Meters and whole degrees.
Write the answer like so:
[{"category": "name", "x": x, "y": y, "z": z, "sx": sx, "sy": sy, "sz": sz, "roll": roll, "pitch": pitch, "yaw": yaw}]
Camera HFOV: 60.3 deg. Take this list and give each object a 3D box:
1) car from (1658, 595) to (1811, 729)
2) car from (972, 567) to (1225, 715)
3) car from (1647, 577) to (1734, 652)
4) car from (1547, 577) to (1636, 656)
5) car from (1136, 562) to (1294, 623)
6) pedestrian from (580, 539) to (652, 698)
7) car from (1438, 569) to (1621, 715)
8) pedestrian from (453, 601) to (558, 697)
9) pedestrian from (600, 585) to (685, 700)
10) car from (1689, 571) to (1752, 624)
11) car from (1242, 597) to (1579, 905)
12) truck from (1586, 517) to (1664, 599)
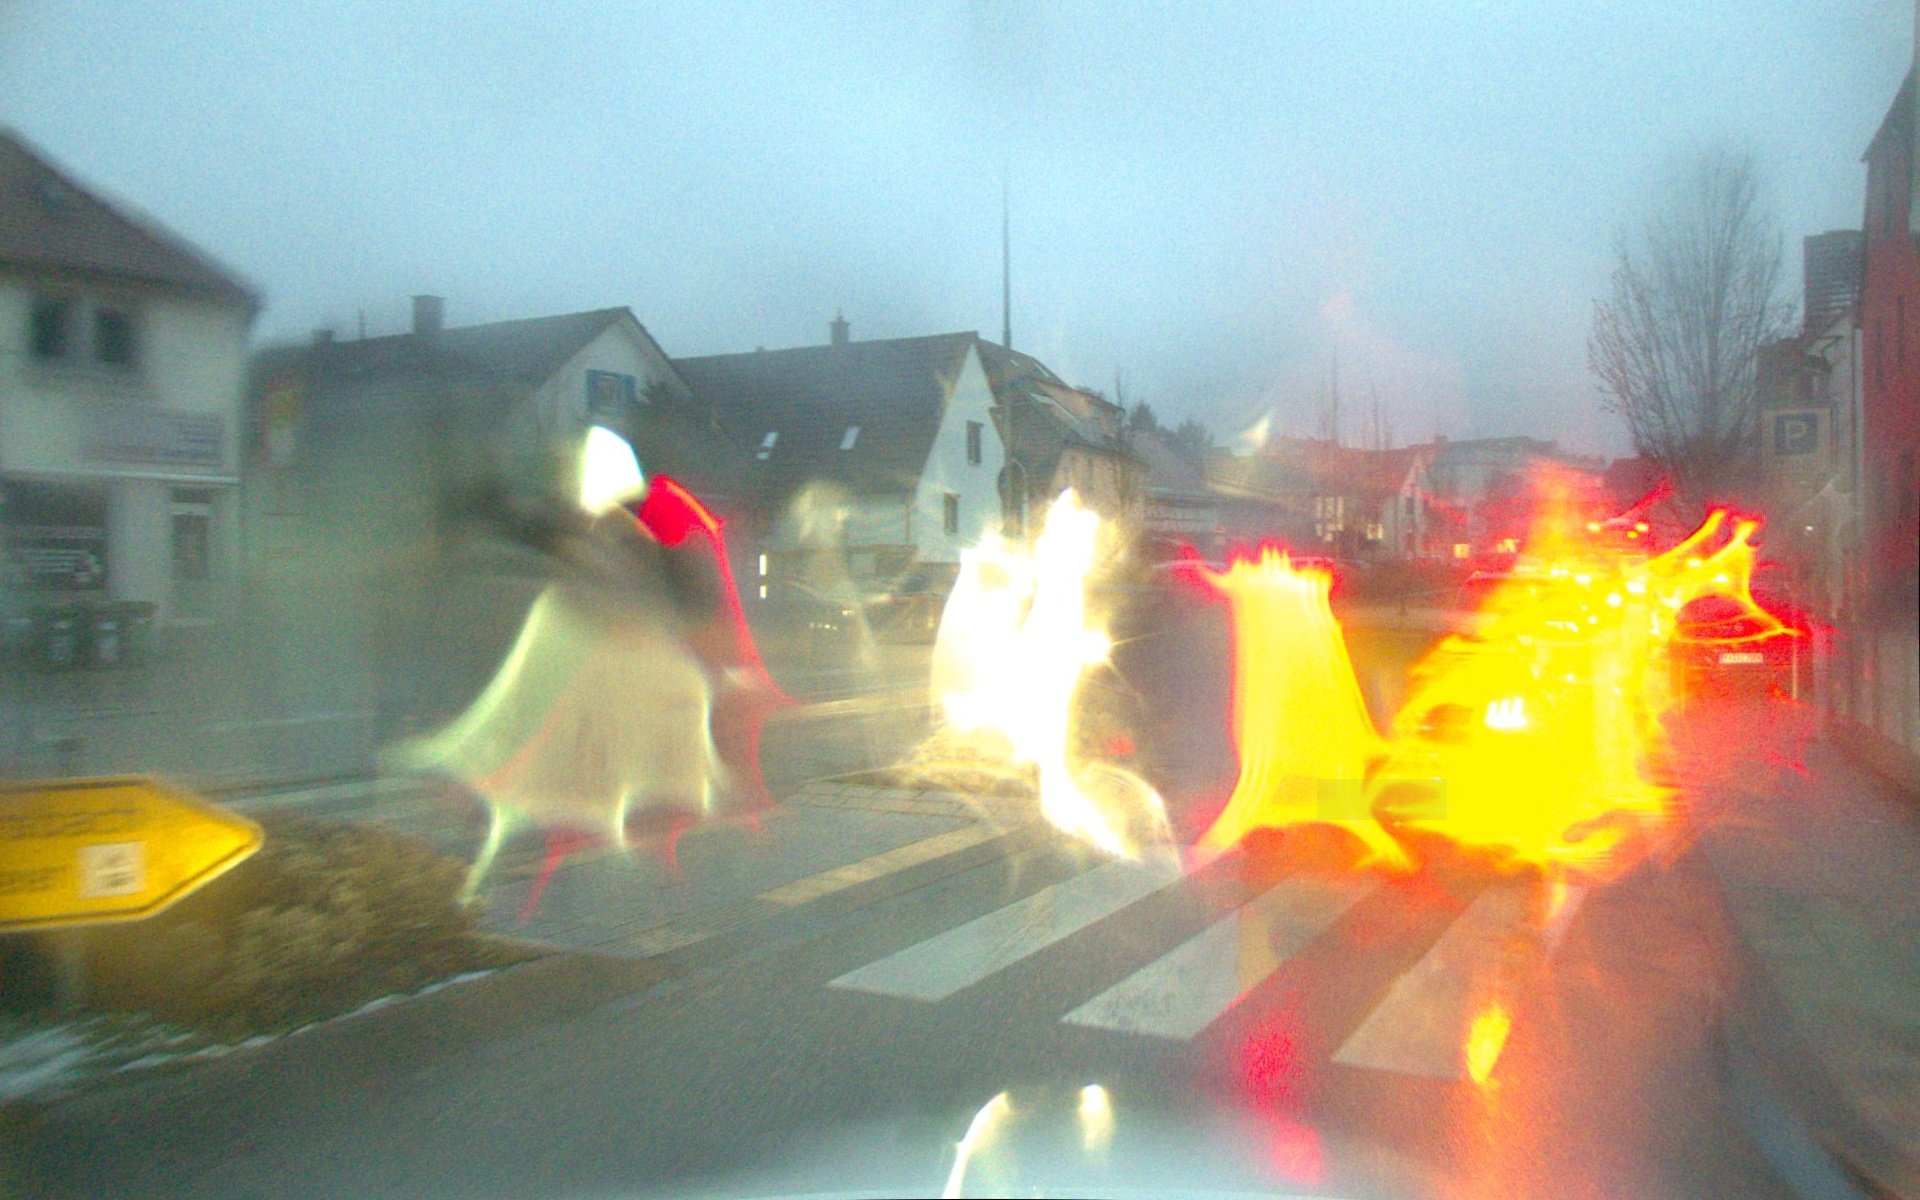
[{"category": "car", "x": 10.698, "y": 0.775, "z": 22.991, "sx": 1.774, "sy": 1.598, "sz": 3.849, "roll": 0, "pitch": 2, "yaw": 24}, {"category": "car", "x": 1.801, "y": 0.405, "z": 20.167, "sx": 1.707, "sy": 1.596, "sz": 4.058, "roll": 1, "pitch": 1, "yaw": 26}, {"category": "car", "x": 16.037, "y": 0.268, "z": 36.335, "sx": 1.657, "sy": 1.492, "sz": 3.717, "roll": 0, "pitch": 2, "yaw": 24}, {"category": "car", "x": 14.637, "y": 0.328, "z": 38.228, "sx": 1.687, "sy": 1.660, "sz": 3.998, "roll": 0, "pitch": 1, "yaw": 24}, {"category": "car", "x": 7.309, "y": -0.228, "z": 47.378, "sx": 4.218, "sy": 1.668, "sz": 1.847, "roll": 0, "pitch": 1, "yaw": 20}, {"category": "pedestrian", "x": -4.044, "y": 0.211, "z": 19.480, "sx": 0.713, "sy": 1.849, "sz": 0.531, "roll": 0, "pitch": 1, "yaw": 1}, {"category": "car", "x": 7.431, "y": 0.449, "z": 21.341, "sx": 1.877, "sy": 1.643, "sz": 3.948, "roll": 0, "pitch": 2, "yaw": 24}, {"category": "pedestrian", "x": -5.146, "y": 0.540, "z": 18.757, "sx": 0.843, "sy": 1.028, "sz": 0.811, "roll": 1, "pitch": 1, "yaw": 20}, {"category": "pedestrian", "x": -3.898, "y": 0.510, "z": 20.342, "sx": 0.768, "sy": 1.371, "sz": 0.716, "roll": 1, "pitch": 1, "yaw": 24}, {"category": "car", "x": 22.776, "y": -0.108, "z": 49.595, "sx": 1.657, "sy": 1.492, "sz": 3.717, "roll": 0, "pitch": 2, "yaw": 24}, {"category": "car", "x": 2.972, "y": 0.753, "z": 10.468, "sx": 1.674, "sy": 1.446, "sz": 4.014, "roll": 1, "pitch": 1, "yaw": 20}, {"category": "truck", "x": 26.360, "y": -1.649, "z": 65.388, "sx": 2.660, "sy": 3.062, "sz": 5.990, "roll": 0, "pitch": 1, "yaw": 24}]
